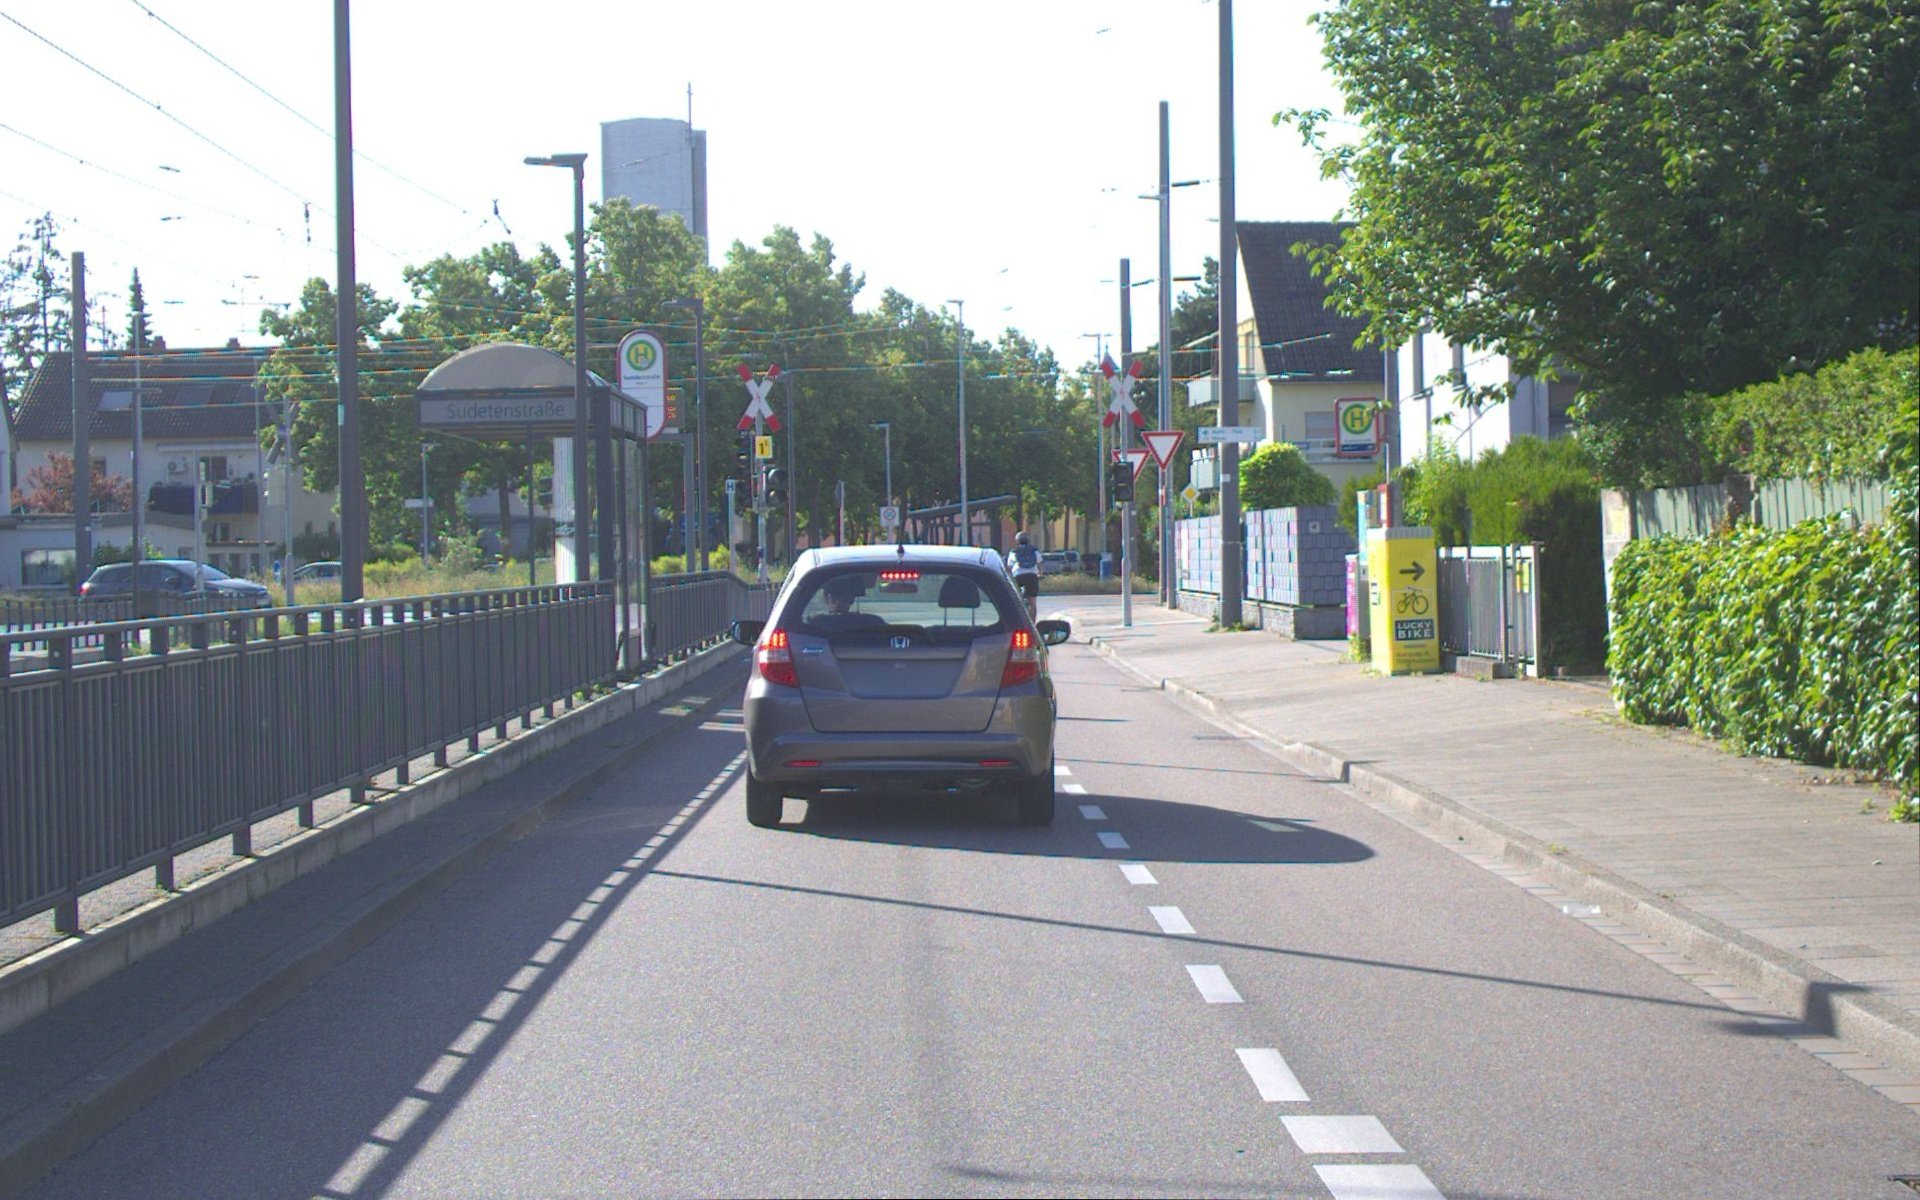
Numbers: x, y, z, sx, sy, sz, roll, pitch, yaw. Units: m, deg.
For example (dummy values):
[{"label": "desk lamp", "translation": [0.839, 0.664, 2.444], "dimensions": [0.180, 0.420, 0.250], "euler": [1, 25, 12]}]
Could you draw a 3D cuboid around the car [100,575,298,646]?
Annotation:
[{"label": "car", "translation": [-17.070, 0.218, 77.180], "dimensions": [3.991, 1.524, 1.806], "euler": [1, 0, 20]}]

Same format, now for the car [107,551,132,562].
[{"label": "car", "translation": [-26.368, -1.355, 107.862], "dimensions": [0.699, 0.335, 0.329], "euler": [1, 0, 4]}]

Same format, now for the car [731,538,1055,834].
[{"label": "car", "translation": [-0.389, 0.421, 19.602], "dimensions": [1.670, 1.530, 3.487], "euler": [0, 1, -1]}]

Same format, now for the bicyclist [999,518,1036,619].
[{"label": "bicyclist", "translation": [0.968, -0.528, 57.858], "dimensions": [0.598, 1.695, 0.683], "euler": [0, 0, 0]}]

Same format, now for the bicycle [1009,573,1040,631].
[{"label": "bicycle", "translation": [1.082, 0.028, 58.021], "dimensions": [0.475, 0.958, 1.657], "euler": [0, 0, 0]}]
